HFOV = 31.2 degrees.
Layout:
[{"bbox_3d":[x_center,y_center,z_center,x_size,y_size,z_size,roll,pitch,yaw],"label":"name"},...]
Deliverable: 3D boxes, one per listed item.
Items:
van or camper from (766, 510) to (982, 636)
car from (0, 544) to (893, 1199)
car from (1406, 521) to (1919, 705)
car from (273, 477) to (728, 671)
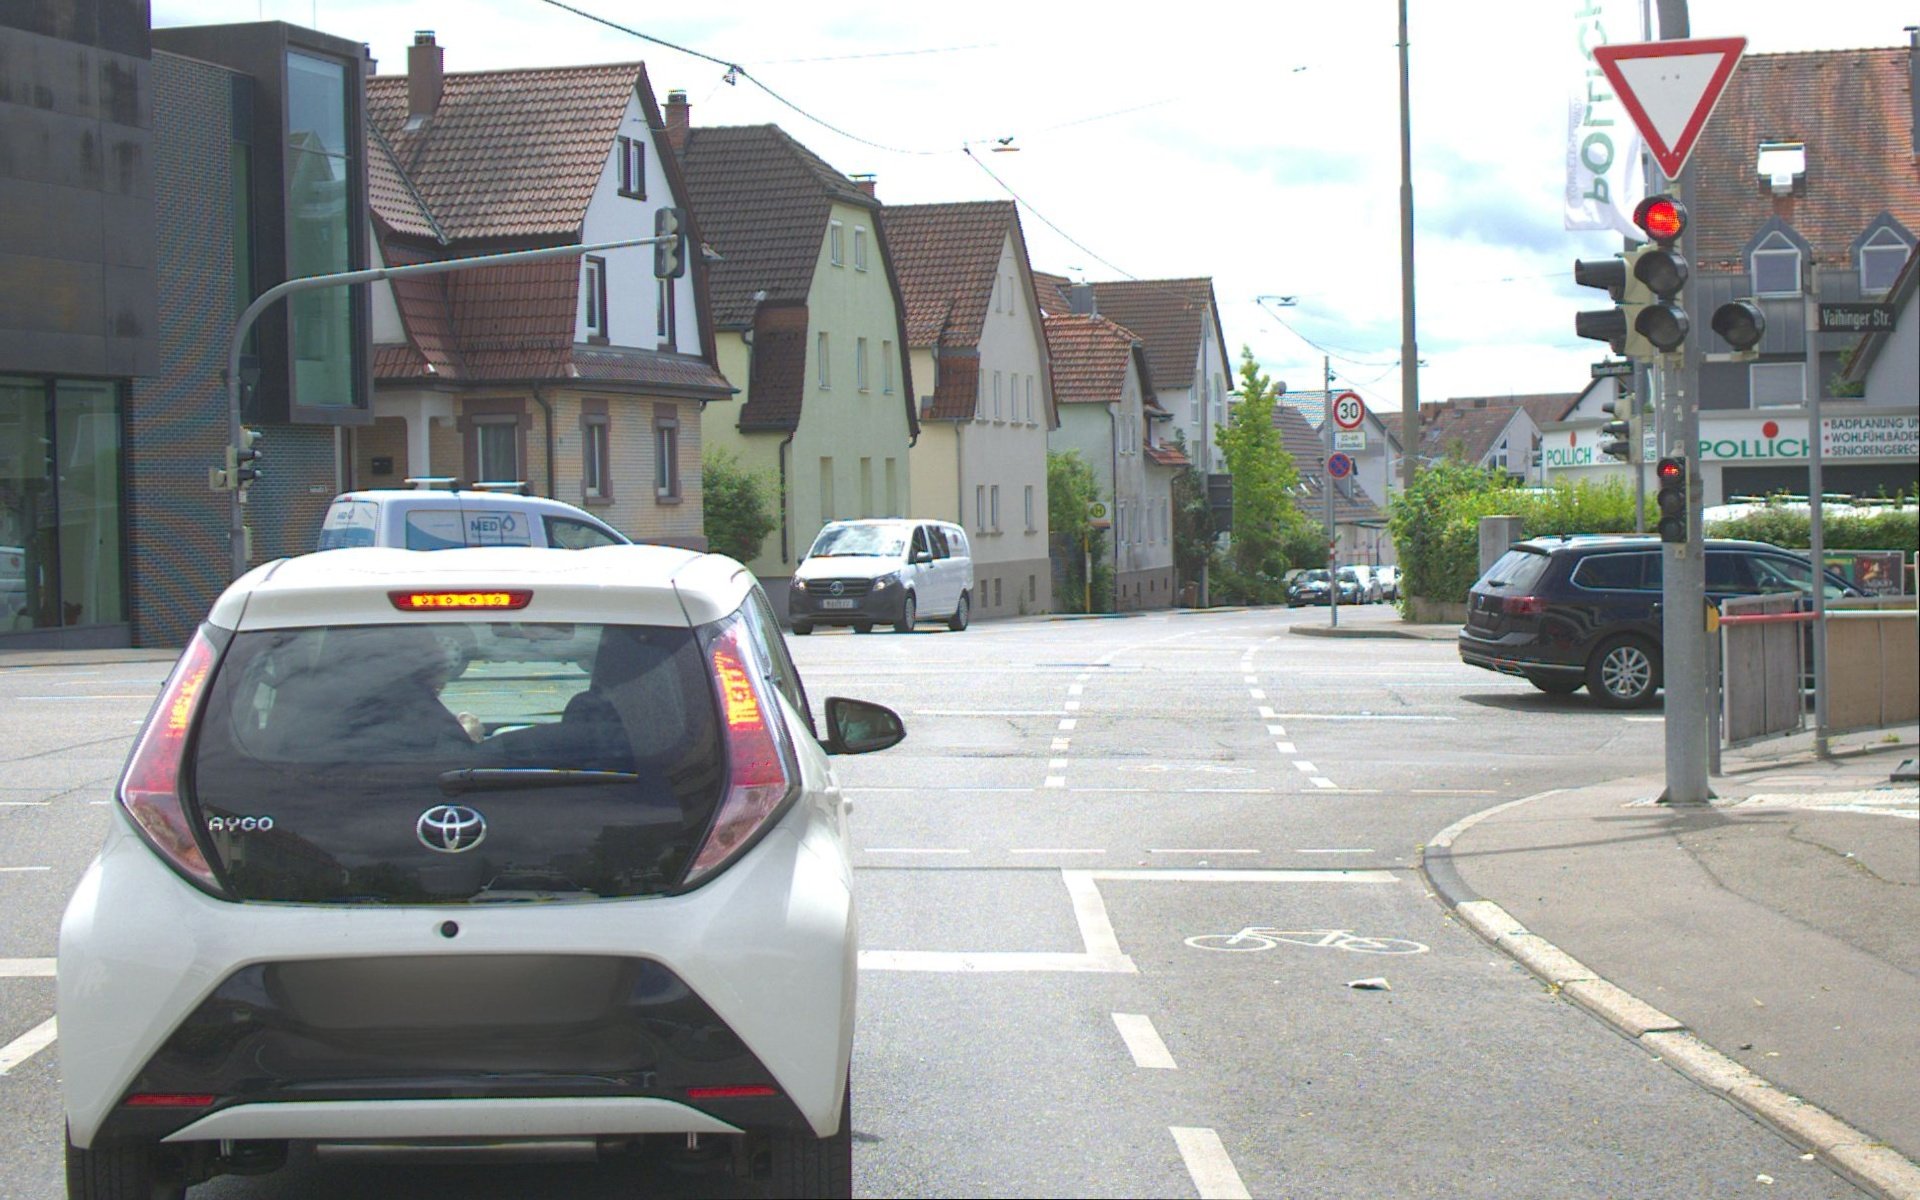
[{"bbox_3d":[-1.321,-0.463,55.735,2.117,1.919,5.282,1,1,14],"label":"van or camper"},{"bbox_3d":[-1.059,0.609,8.160,1.697,1.451,3.299,1,1,-3],"label":"car"},{"bbox_3d":[6.635,0.099,30.674,4.895,1.572,2.001,0,1,-8],"label":"car"},{"bbox_3d":[-4.610,-0.268,34.666,4.060,1.842,2.000,0,1,-35],"label":"car"}]
